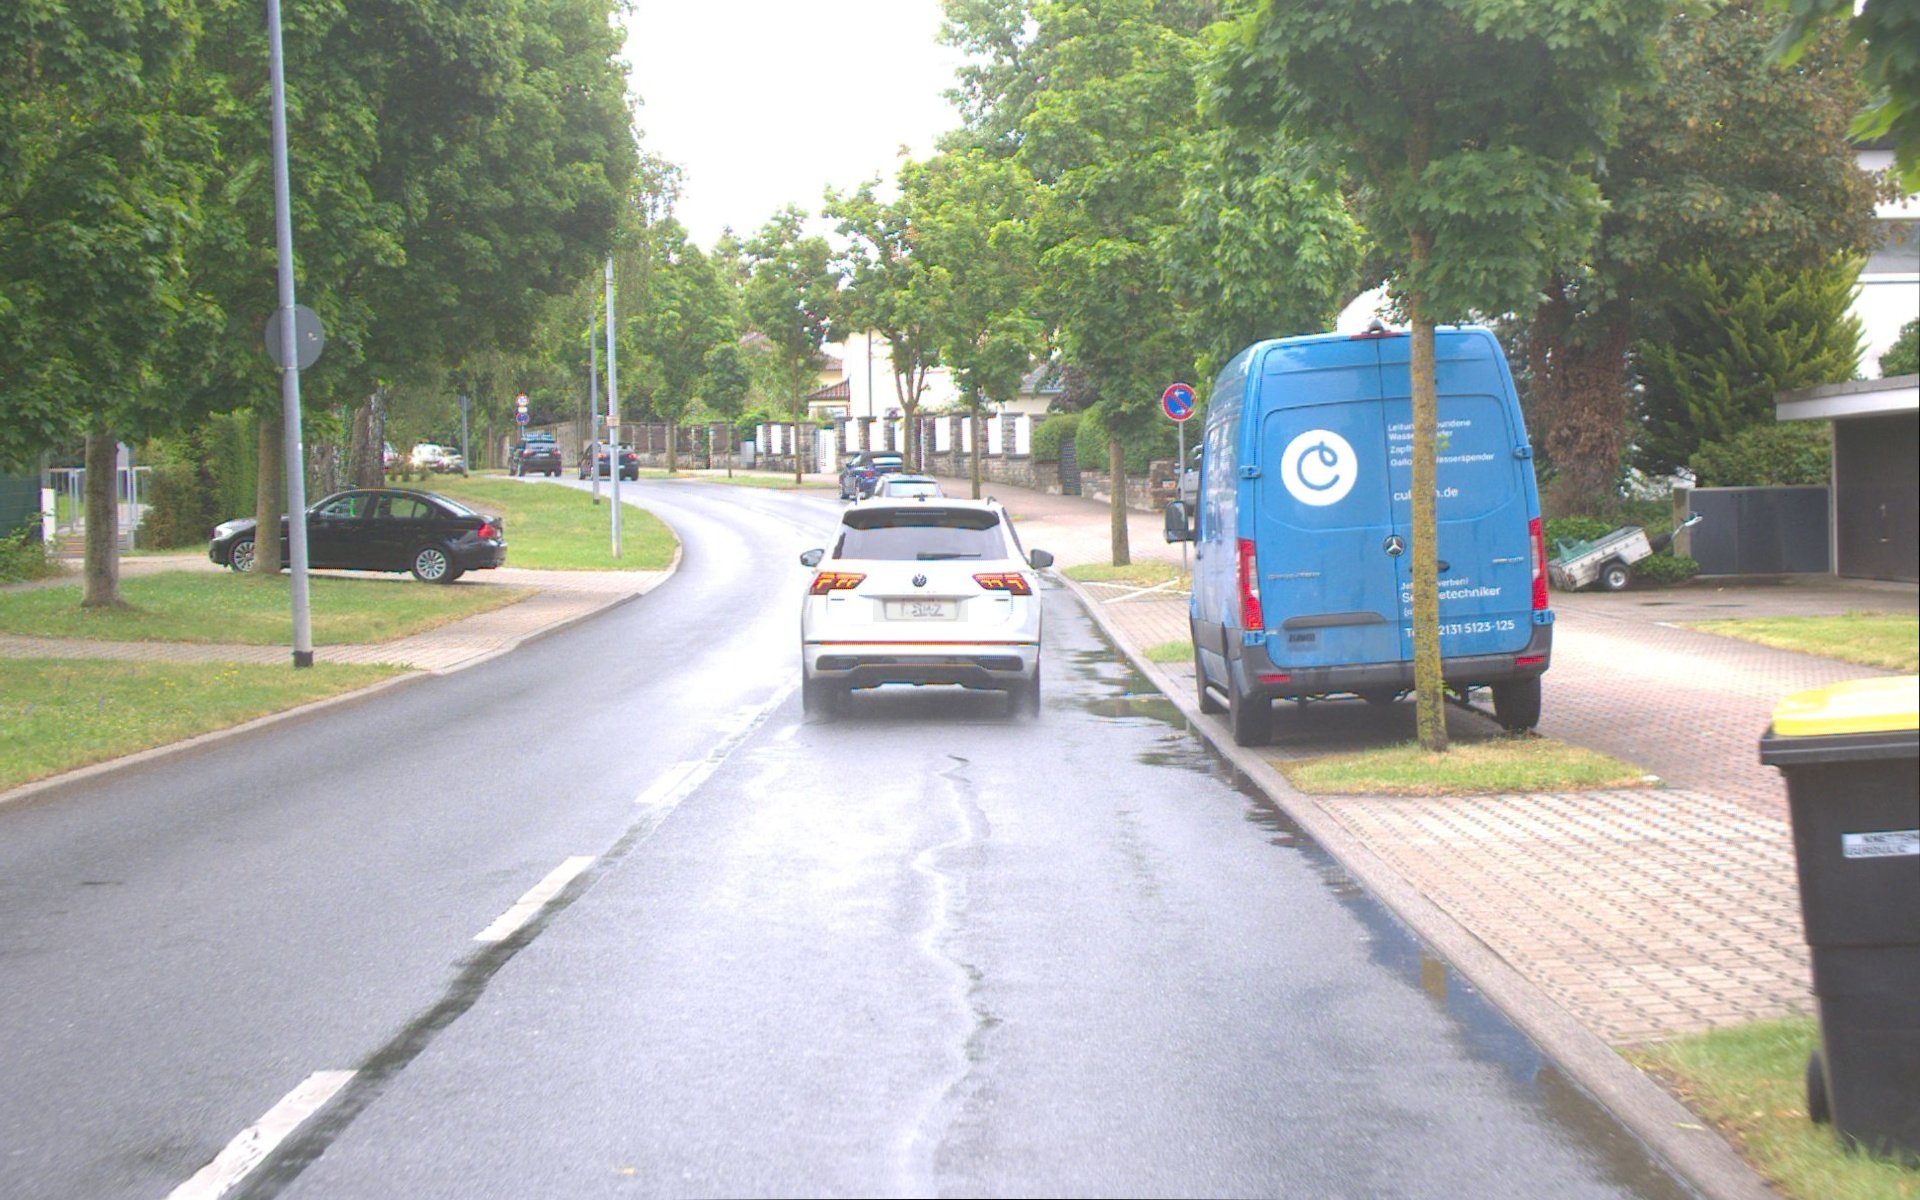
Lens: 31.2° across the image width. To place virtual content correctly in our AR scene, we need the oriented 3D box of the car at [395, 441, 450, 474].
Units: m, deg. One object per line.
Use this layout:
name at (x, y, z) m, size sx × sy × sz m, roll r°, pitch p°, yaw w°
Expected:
car at (-24.354, -6.447, 155.676) m, size 1.766 × 1.422 × 4.002 m, roll 0°, pitch 3°, yaw -20°

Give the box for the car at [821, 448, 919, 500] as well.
car at (-2.594, -3.598, 98.010) m, size 1.642 × 1.422 × 4.002 m, roll 0°, pitch 3°, yaw -19°

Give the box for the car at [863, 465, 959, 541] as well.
car at (-1.058, -2.041, 72.859) m, size 1.769 × 1.546 × 4.001 m, roll -1°, pitch 1°, yaw -4°

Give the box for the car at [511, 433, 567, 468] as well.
car at (-17.757, -6.303, 144.903) m, size 1.642 × 1.422 × 4.002 m, roll 0°, pitch 3°, yaw -17°

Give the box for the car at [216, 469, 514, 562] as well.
car at (-9.088, -1.303, 52.681) m, size 4.219 × 1.358 × 1.690 m, roll 1°, pitch 2°, yaw 5°

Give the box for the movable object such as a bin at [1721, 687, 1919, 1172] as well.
movable object such as a bin at (2.113, 0.717, 7.670) m, size 0.615 × 1.011 × 0.562 m, roll -5°, pitch 0°, yaw 25°

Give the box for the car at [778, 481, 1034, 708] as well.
car at (-0.382, -0.103, 27.239) m, size 1.865 × 1.645 × 4.000 m, roll -1°, pitch 2°, yaw 0°

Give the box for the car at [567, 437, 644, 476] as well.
car at (-13.334, -5.395, 129.108) m, size 1.642 × 1.422 × 4.001 m, roll -1°, pitch 3°, yaw -26°

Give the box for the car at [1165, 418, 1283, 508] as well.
car at (6.050, -3.185, 79.262) m, size 1.823 × 1.698 × 4.002 m, roll -9°, pitch 5°, yaw -5°

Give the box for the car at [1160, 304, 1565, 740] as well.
car at (2.635, -0.573, 23.882) m, size 1.993 × 2.577 × 5.634 m, roll -3°, pitch 2°, yaw 0°

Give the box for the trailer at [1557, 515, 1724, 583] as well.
trailer at (9.229, -0.703, 46.729) m, size 2.042 × 0.880 × 1.364 m, roll 1°, pitch 2°, yaw 3°

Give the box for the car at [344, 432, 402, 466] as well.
car at (-25.114, -6.469, 146.967) m, size 1.766 × 1.422 × 4.002 m, roll 0°, pitch 3°, yaw -20°
